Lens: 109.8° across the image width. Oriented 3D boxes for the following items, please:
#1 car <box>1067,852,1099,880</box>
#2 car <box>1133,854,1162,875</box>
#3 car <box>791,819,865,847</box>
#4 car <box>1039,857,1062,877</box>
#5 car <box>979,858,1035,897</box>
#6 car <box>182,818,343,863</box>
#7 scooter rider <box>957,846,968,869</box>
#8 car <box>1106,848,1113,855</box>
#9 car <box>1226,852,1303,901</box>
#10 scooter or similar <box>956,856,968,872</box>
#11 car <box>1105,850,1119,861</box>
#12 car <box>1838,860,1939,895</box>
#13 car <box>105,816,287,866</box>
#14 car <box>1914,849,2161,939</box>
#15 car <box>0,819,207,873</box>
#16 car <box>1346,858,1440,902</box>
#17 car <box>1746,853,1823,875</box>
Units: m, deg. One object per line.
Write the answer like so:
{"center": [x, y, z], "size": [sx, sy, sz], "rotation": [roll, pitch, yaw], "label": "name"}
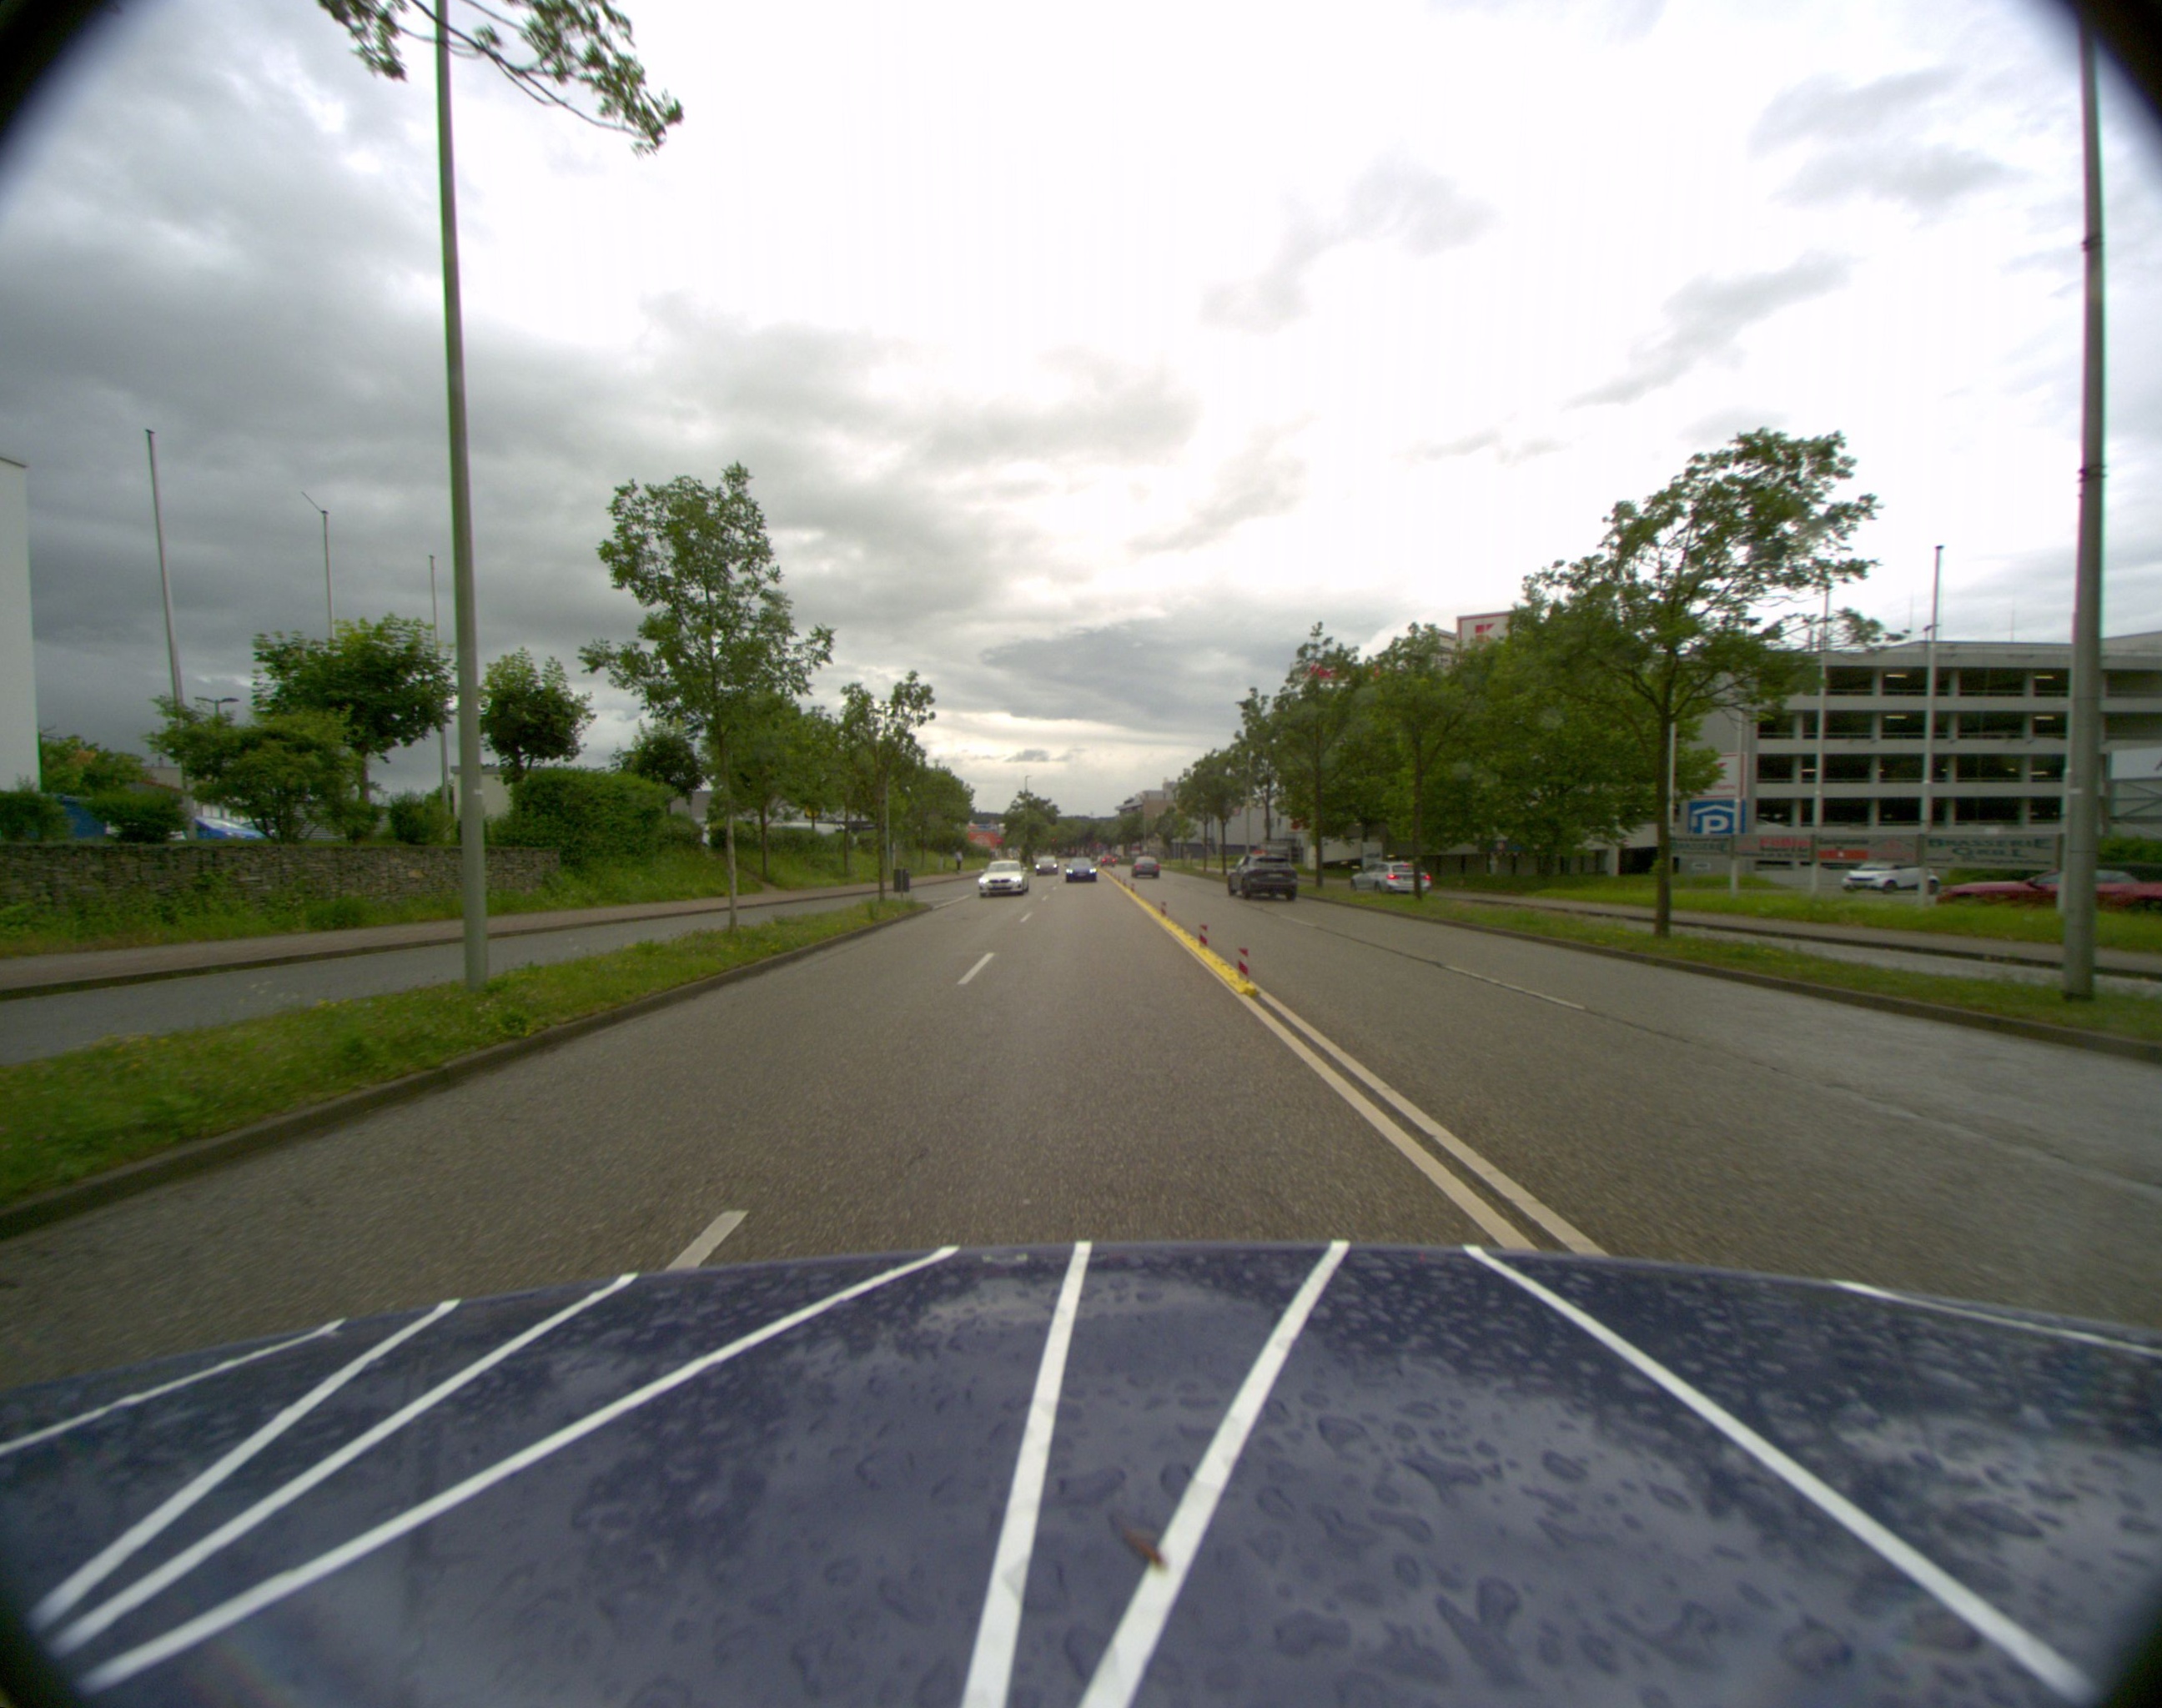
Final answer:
{"center": [0.103, 0.708, 46.564], "size": [1.799, 1.572, 4.218], "rotation": [-3, 1, -1], "label": "car"}
{"center": [4.677, 0.697, 53.690], "size": [1.671, 1.402, 4.377], "rotation": [1, 0, 1], "label": "car"}
{"center": [-21.463, -1.746, 64.602], "size": [5.625, 2.130, 2.120], "rotation": [2, 1, -7], "label": "car"}
{"center": [-2.545, 1.068, 64.763], "size": [1.799, 1.572, 4.218], "rotation": [-3, 1, -1], "label": "car"}
{"center": [-3.122, 0.955, 32.986], "size": [1.808, 1.432, 4.541], "rotation": [-3, 0, 1], "label": "car"}
{"center": [-30.888, -0.510, 28.769], "size": [3.998, 1.653, 1.798], "rotation": [0, 1, -3], "label": "car"}
{"center": [-9.587, 0.253, 61.430], "size": [0.696, 1.810, 0.858], "rotation": [1, 1, -1], "label": "scooter rider"}
{"center": [9.644, -0.857, 257.215], "size": [1.999, 2.002, 4.884], "rotation": [-4, 1, -1], "label": "car"}
{"center": [6.705, 0.757, 28.232], "size": [1.792, 1.605, 4.436], "rotation": [1, 1, 1], "label": "car"}
{"center": [-9.600, 0.787, 61.411], "size": [0.696, 1.256, 1.400], "rotation": [1, 1, 0], "label": "scooter or similar"}
{"center": [4.042, 0.184, 100.190], "size": [1.831, 1.457, 4.616], "rotation": [0, 0, 1], "label": "car"}
{"center": [32.851, 0.958, 30.949], "size": [2.705, 1.357, 1.609], "rotation": [1, -1, -10], "label": "car"}
{"center": [-30.484, -0.431, 26.277], "size": [3.998, 1.653, 1.798], "rotation": [0, 1, -3], "label": "car"}
{"center": [20.565, 0.745, 15.402], "size": [1.938, 1.599, 4.710], "rotation": [-2, -1, -5], "label": "car"}
{"center": [-30.649, -0.248, 23.921], "size": [3.998, 1.653, 1.798], "rotation": [0, 1, -3], "label": "car"}
{"center": [12.436, 0.984, 30.659], "size": [1.872, 1.544, 4.575], "rotation": [1, 0, 0], "label": "car"}
{"center": [49.173, 0.701, 53.123], "size": [1.756, 1.454, 3.834], "rotation": [-4, 2, -44], "label": "car"}
